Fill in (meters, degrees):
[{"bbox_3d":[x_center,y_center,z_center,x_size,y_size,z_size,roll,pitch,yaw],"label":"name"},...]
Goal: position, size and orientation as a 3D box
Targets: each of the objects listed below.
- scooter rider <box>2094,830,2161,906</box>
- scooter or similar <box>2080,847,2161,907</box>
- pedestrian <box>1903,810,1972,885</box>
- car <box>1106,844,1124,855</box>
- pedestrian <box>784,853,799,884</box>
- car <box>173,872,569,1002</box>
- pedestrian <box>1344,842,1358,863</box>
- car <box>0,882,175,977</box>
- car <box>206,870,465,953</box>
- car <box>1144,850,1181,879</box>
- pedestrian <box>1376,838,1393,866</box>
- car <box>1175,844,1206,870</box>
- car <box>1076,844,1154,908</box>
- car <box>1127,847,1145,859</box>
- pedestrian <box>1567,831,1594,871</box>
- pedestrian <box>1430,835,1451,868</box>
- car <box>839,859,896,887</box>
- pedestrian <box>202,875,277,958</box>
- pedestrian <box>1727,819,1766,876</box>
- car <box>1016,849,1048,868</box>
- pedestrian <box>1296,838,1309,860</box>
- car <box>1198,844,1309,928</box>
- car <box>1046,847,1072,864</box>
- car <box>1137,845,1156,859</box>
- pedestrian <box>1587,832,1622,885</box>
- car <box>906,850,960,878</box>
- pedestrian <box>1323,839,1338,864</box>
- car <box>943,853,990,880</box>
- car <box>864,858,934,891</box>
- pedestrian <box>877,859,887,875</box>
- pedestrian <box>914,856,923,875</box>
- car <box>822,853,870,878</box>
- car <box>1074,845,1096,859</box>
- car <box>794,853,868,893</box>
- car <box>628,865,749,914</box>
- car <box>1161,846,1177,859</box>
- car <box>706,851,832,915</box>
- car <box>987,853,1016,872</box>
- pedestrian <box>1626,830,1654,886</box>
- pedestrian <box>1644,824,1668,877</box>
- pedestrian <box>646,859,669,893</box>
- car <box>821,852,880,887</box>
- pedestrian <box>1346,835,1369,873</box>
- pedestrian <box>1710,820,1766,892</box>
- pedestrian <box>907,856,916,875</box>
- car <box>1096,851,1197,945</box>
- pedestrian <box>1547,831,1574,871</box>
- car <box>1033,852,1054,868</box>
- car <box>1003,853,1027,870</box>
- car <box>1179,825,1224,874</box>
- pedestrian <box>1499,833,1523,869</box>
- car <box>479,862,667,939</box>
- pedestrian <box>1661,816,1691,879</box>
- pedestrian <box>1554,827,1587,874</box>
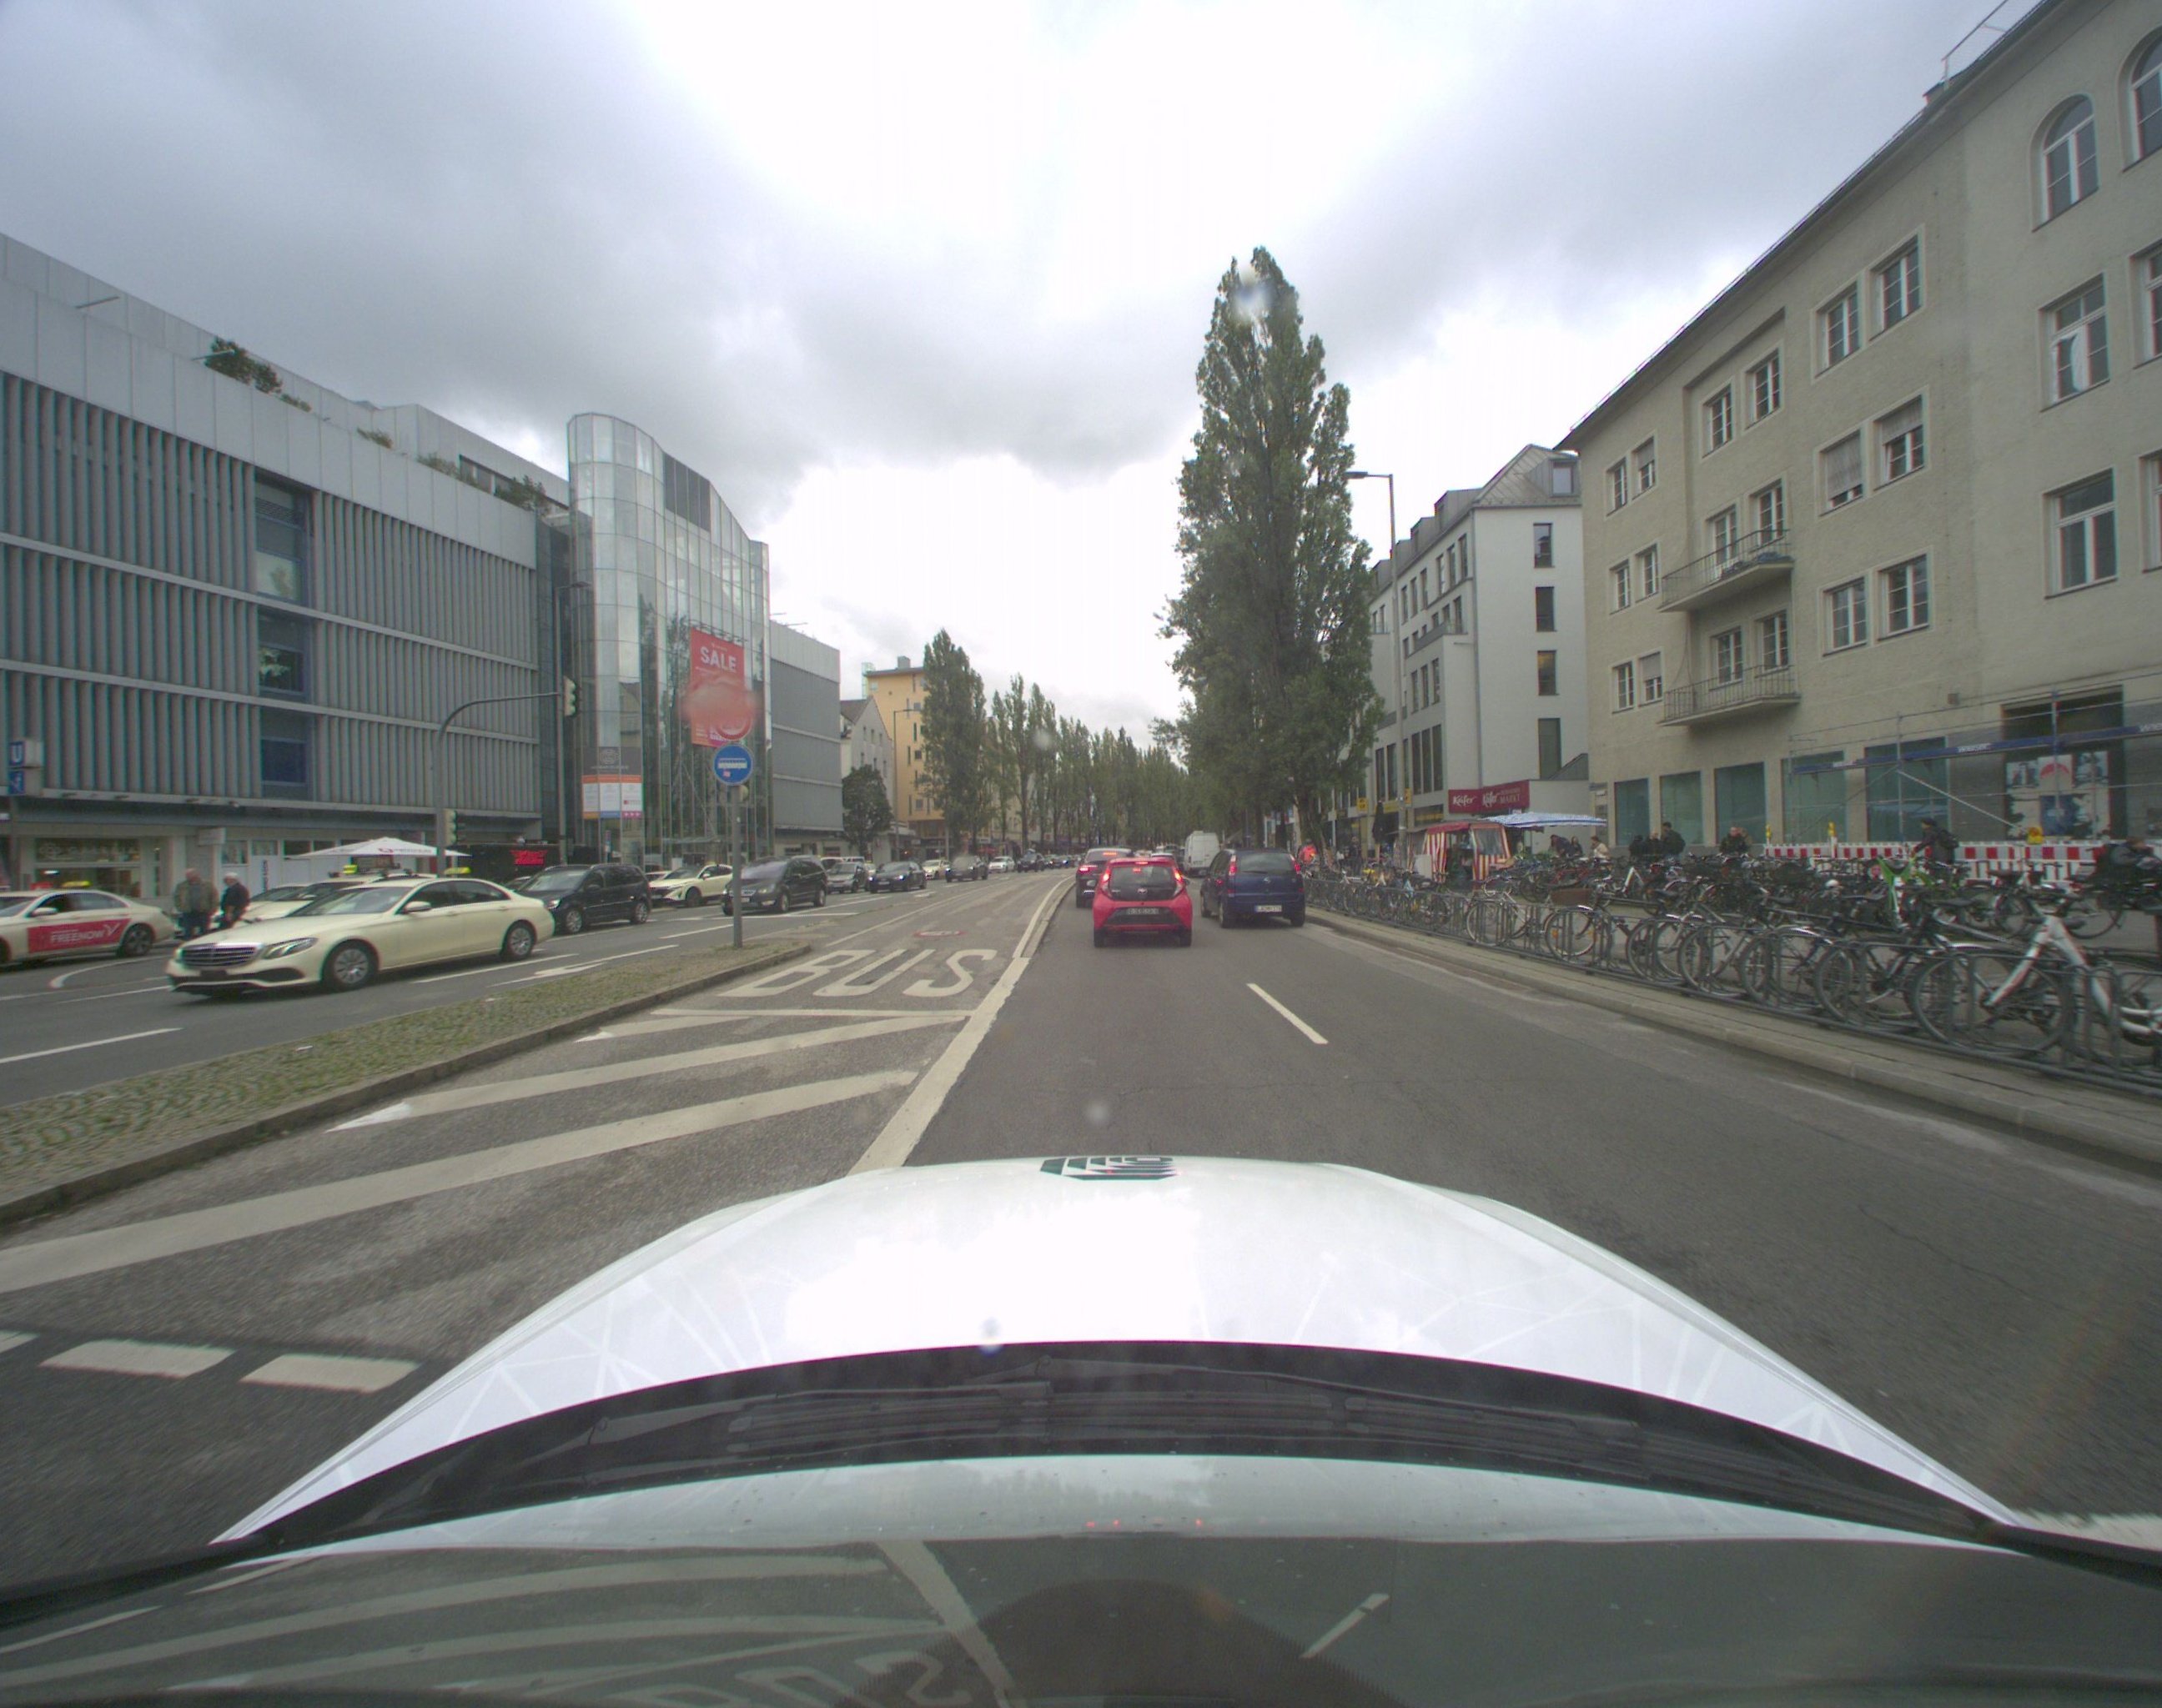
[{"bbox_3d":[17.656,0.220,13.545,0.683,1.219,0.719,-3,0,-1],"label":"scooter rider"},{"bbox_3d":[17.662,0.370,13.606,0.533,0.943,1.125,-3,0,0],"label":"scooter or similar"},{"bbox_3d":[18.481,-0.143,17.589,0.646,1.568,0.788,-2,0,2],"label":"pedestrian"},{"bbox_3d":[5.525,-0.688,132.511,1.979,1.691,4.431,-2,0,14],"label":"car"},{"bbox_3d":[-17.561,0.869,49.451,0.553,1.817,0.630,-2,0,12],"label":"pedestrian"},{"bbox_3d":[-10.191,1.073,12.330,1.758,1.421,4.642,-2,0,2],"label":"car"},{"bbox_3d":[16.993,-0.103,51.297,0.636,1.306,0.676,-2,0,1],"label":"pedestrian"},{"bbox_3d":[-20.147,1.407,15.298,1.996,1.536,4.394,-2,0,-14],"label":"car"},{"bbox_3d":[-17.197,1.236,19.161,1.894,1.543,4.395,-2,0,2],"label":"car"},{"bbox_3d":[4.373,0.516,43.983,1.694,1.426,3.497,-2,0,1],"label":"car"},{"bbox_3d":[17.782,-0.123,47.657,0.710,1.558,0.676,-2,0,1],"label":"pedestrian"},{"bbox_3d":[7.398,0.169,55.357,1.696,1.662,3.557,-1,0,1],"label":"car"},{"bbox_3d":[0.917,0.553,23.261,1.986,1.618,4.001,-2,0,1],"label":"car"},{"bbox_3d":[8.707,-0.154,127.986,1.979,1.691,4.431,-2,0,14],"label":"car"},{"bbox_3d":[17.819,-0.102,29.069,0.572,1.402,0.580,-2,0,1],"label":"pedestrian"},{"bbox_3d":[18.152,-0.127,41.114,0.730,1.602,0.742,-2,0,1],"label":"pedestrian"},{"bbox_3d":[-13.405,1.144,51.429,1.984,1.655,4.540,1,0,6],"label":"car"},{"bbox_3d":[-17.950,1.312,17.390,0.766,1.690,0.753,-2,0,6],"label":"pedestrian"},{"bbox_3d":[19.708,-0.183,24.126,0.638,1.644,0.563,-2,0,1],"label":"pedestrian"},{"bbox_3d":[-4.359,0.369,73.220,1.983,1.691,4.930,0,0,7],"label":"car"},{"bbox_3d":[16.357,-0.391,60.237,0.761,1.593,0.676,-2,0,1],"label":"pedestrian"},{"bbox_3d":[3.588,0.600,17.473,1.696,1.589,3.557,-1,0,2],"label":"car"},{"bbox_3d":[-2.335,0.145,88.266,1.982,1.691,4.933,-2,0,8],"label":"car"},{"bbox_3d":[7.083,-0.274,87.746,1.763,1.439,3.946,-2,0,7],"label":"car"},{"bbox_3d":[15.526,0.121,24.142,0.801,1.522,0.805,-2,0,34],"label":"pedestrian"},{"bbox_3d":[-10.818,0.696,59.917,1.979,1.816,4.552,-4,1,15],"label":"car"},{"bbox_3d":[16.265,-0.158,53.147,0.710,1.558,0.676,-2,0,1],"label":"pedestrian"},{"bbox_3d":[-7.125,0.729,51.214,1.985,1.534,4.593,-2,0,4],"label":"car"},{"bbox_3d":[-8.561,0.929,38.747,1.836,1.382,4.608,-2,0,6],"label":"car"},{"bbox_3d":[-16.924,1.121,69.412,0.553,1.290,0.630,-2,0,12],"label":"pedestrian"},{"bbox_3d":[-16.846,1.187,84.603,0.685,1.997,0.765,-2,0,0],"label":"pedestrian"},{"bbox_3d":[-18.520,0.886,64.364,1.858,1.772,4.254,-2,0,10],"label":"car"},{"bbox_3d":[0.530,-0.209,100.430,1.982,1.691,4.932,0,0,8],"label":"car"},{"bbox_3d":[-13.999,1.015,46.004,1.984,2.013,5.532,-2,1,6],"label":"car"},{"bbox_3d":[-15.208,1.327,31.799,1.979,1.679,4.199,-1,0,14],"label":"car"},{"bbox_3d":[13.321,-0.221,123.352,1.981,1.838,4.012,-2,0,10],"label":"car"},{"bbox_3d":[-9.517,0.806,25.327,1.929,1.738,4.591,-2,0,2],"label":"car"},{"bbox_3d":[-7.522,0.779,77.378,1.846,1.816,4.008,0,0,7],"label":"car"},{"bbox_3d":[15.304,0.098,22.298,0.573,1.505,0.620,-2,0,33],"label":"pedestrian"},{"bbox_3d":[16.128,-0.101,22.853,0.501,1.484,0.468,-2,0,36],"label":"pedestrian"},{"bbox_3d":[-21.629,1.122,41.579,0.646,1.691,0.714,-2,0,14],"label":"pedestrian"},{"bbox_3d":[-11.323,0.737,40.293,1.616,1.552,3.390,-2,0,6],"label":"car"},{"bbox_3d":[12.798,0.002,37.706,0.787,1.727,0.764,-2,0,1],"label":"pedestrian"},{"bbox_3d":[16.489,0.047,20.450,0.739,1.727,0.758,-3,0,1],"label":"pedestrian"},{"bbox_3d":[-17.612,1.182,84.574,0.685,1.997,0.765,-2,0,0],"label":"pedestrian"},{"bbox_3d":[1.099,0.685,14.412,1.598,1.461,3.132,0,0,2],"label":"car"},{"bbox_3d":[17.122,-0.103,29.105,0.596,1.402,0.580,-2,0,1],"label":"pedestrian"},{"bbox_3d":[-4.304,0.636,93.951,1.846,1.816,4.008,0,0,7],"label":"car"},{"bbox_3d":[-6.696,0.758,83.425,1.737,1.570,3.499,-2,0,7],"label":"car"},{"bbox_3d":[7.245,-0.278,49.271,2.098,2.718,4.807,-2,0,2],"label":"car"},{"bbox_3d":[17.296,-0.118,32.754,0.596,1.402,0.580,-2,0,1],"label":"pedestrian"},{"bbox_3d":[-12.487,1.064,20.421,1.831,1.613,4.261,-2,0,3],"label":"car"},{"bbox_3d":[15.995,-0.180,21.895,0.594,1.669,0.690,-2,0,36],"label":"pedestrian"},{"bbox_3d":[15.280,-0.120,25.433,0.612,1.425,0.660,-2,0,6],"label":"pedestrian"}]
